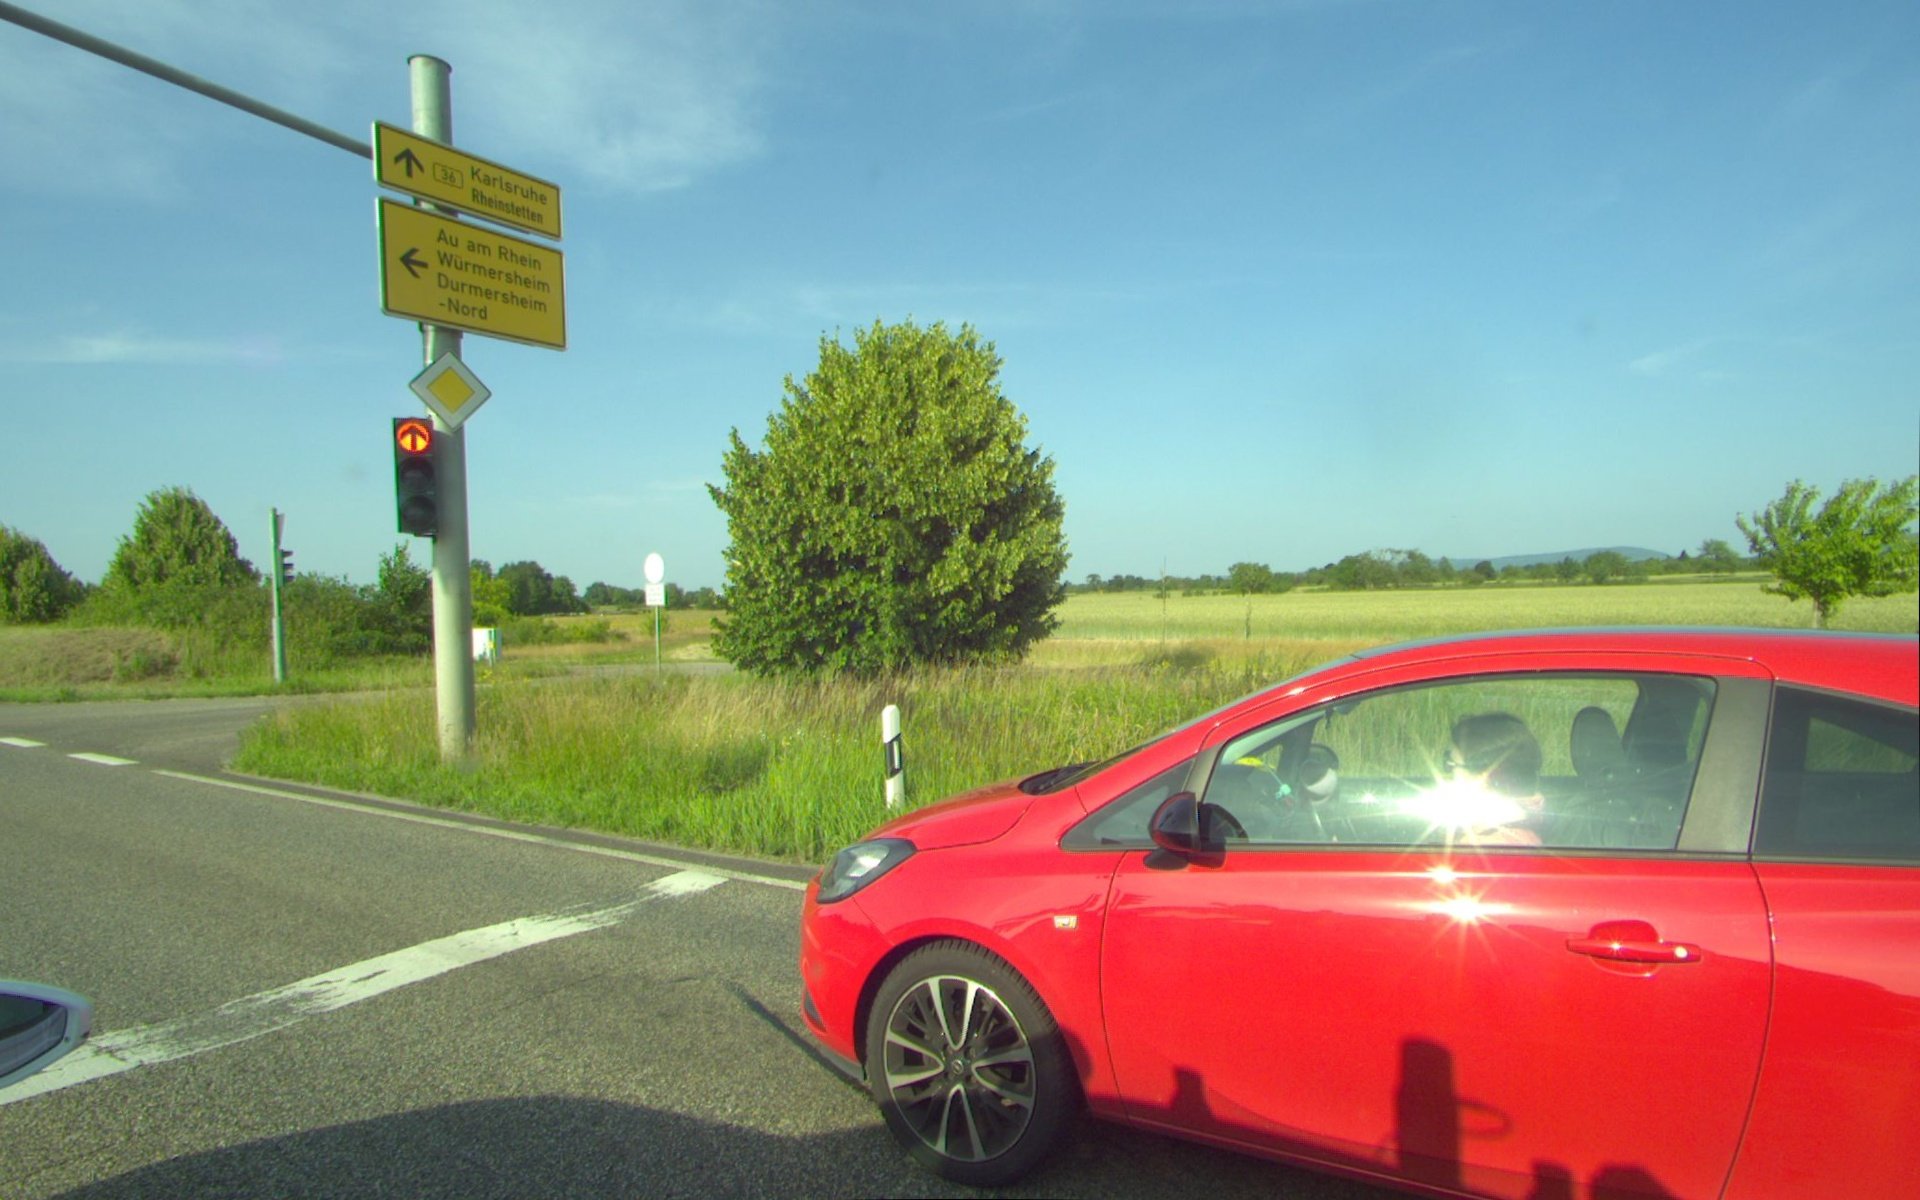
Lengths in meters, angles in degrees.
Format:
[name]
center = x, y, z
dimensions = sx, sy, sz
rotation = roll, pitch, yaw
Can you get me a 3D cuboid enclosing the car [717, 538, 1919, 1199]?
[car]
center = 1.294, 0.698, 2.846
dimensions = 3.693, 1.569, 1.695
rotation = -1, 0, 29
